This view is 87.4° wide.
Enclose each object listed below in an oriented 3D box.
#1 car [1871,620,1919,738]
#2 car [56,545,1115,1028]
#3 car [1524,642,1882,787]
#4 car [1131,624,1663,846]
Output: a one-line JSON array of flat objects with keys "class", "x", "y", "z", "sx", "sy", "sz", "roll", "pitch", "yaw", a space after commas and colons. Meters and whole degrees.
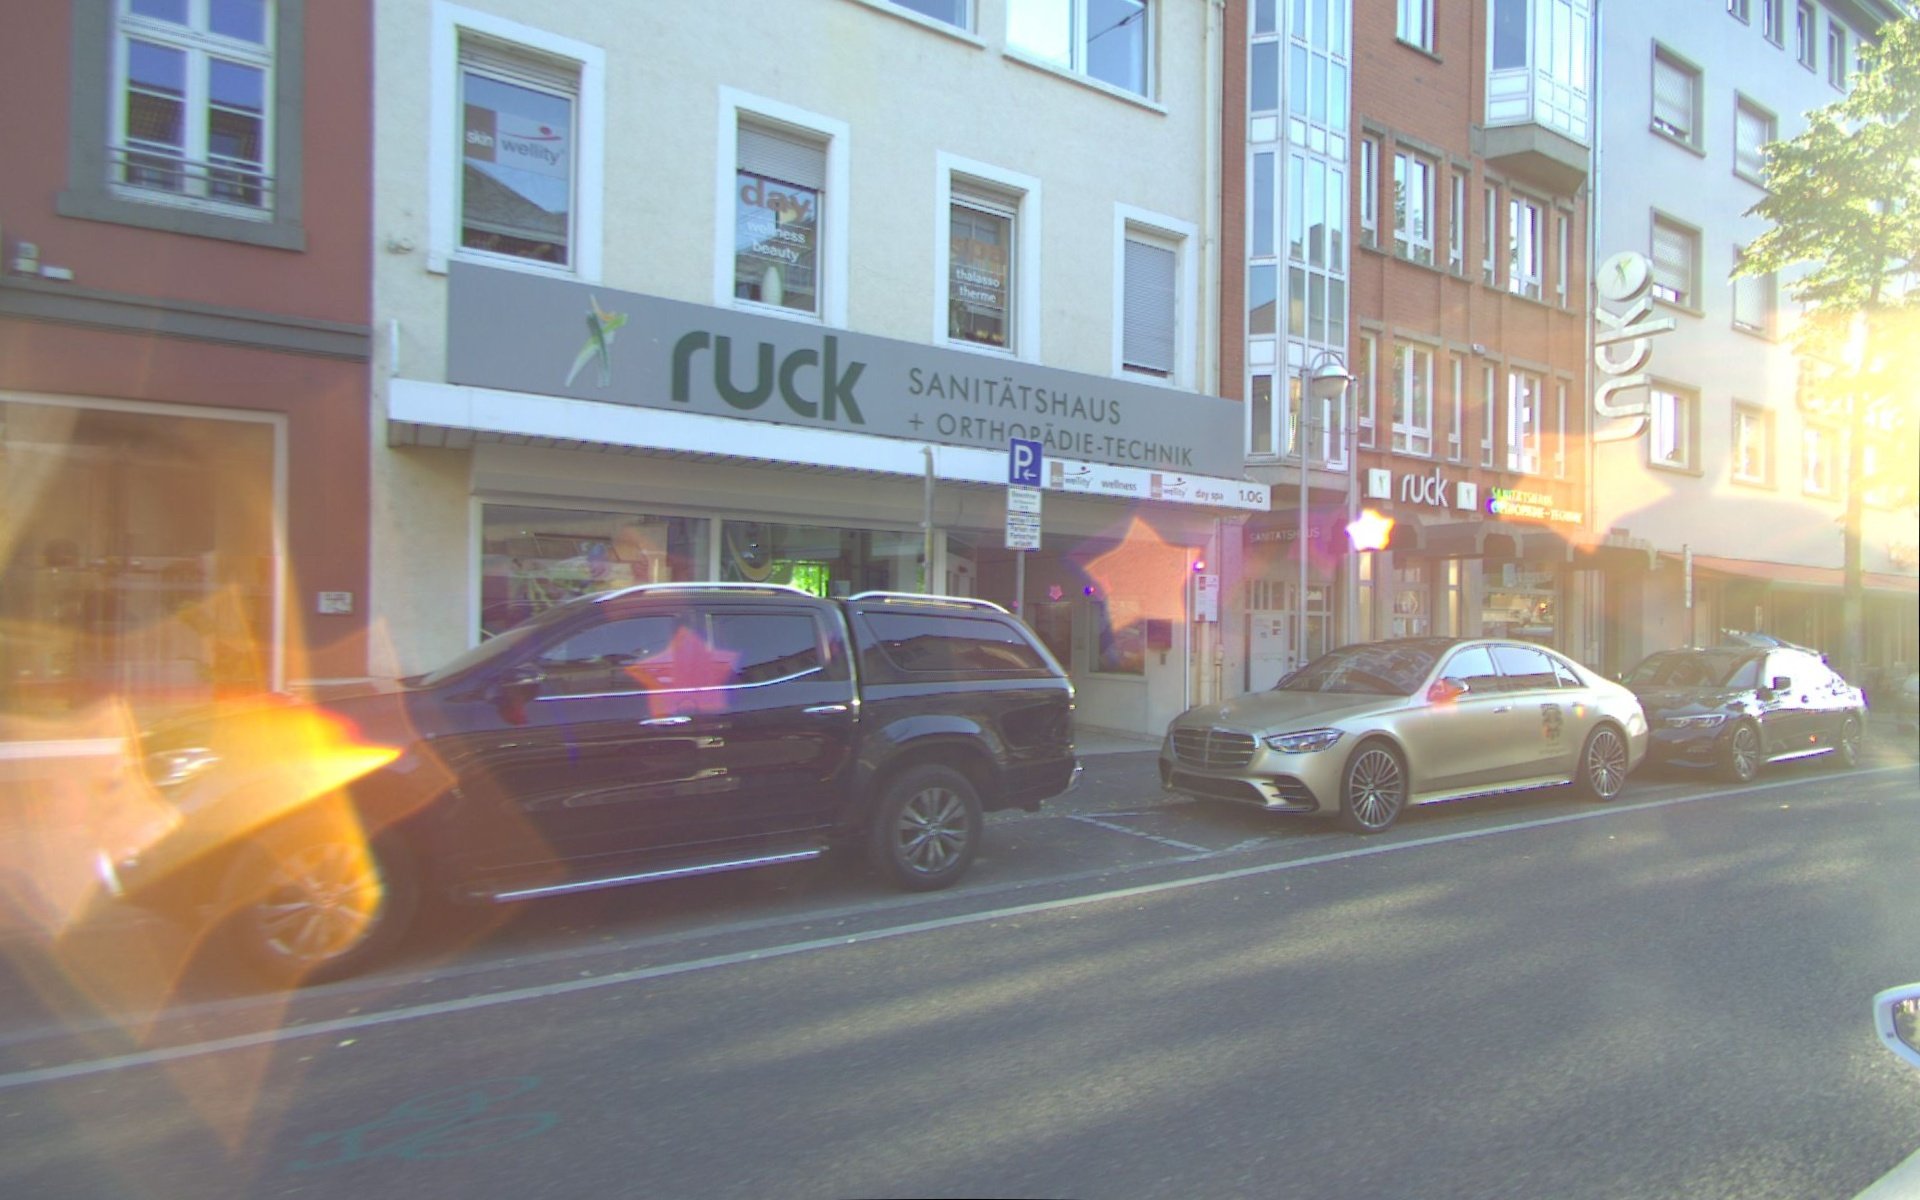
[{"class": "car", "x": 17.235, "y": 1.324, "z": 16.967, "sx": 4.081, "sy": 1.879, "sz": 1.822, "roll": 2, "pitch": -1, "yaw": -34}, {"class": "car", "x": -1.676, "y": 0.797, "z": 6.040, "sx": 5.290, "sy": 1.834, "sz": 1.817, "roll": 1, "pitch": -3, "yaw": -33}, {"class": "car", "x": 8.963, "y": 1.257, "z": 12.041, "sx": 4.500, "sy": 1.458, "sz": 1.819, "roll": 2, "pitch": -4, "yaw": -31}, {"class": "car", "x": 4.131, "y": 1.056, "z": 9.230, "sx": 5.074, "sy": 1.576, "sz": 1.819, "roll": 1, "pitch": -3, "yaw": -30}]
